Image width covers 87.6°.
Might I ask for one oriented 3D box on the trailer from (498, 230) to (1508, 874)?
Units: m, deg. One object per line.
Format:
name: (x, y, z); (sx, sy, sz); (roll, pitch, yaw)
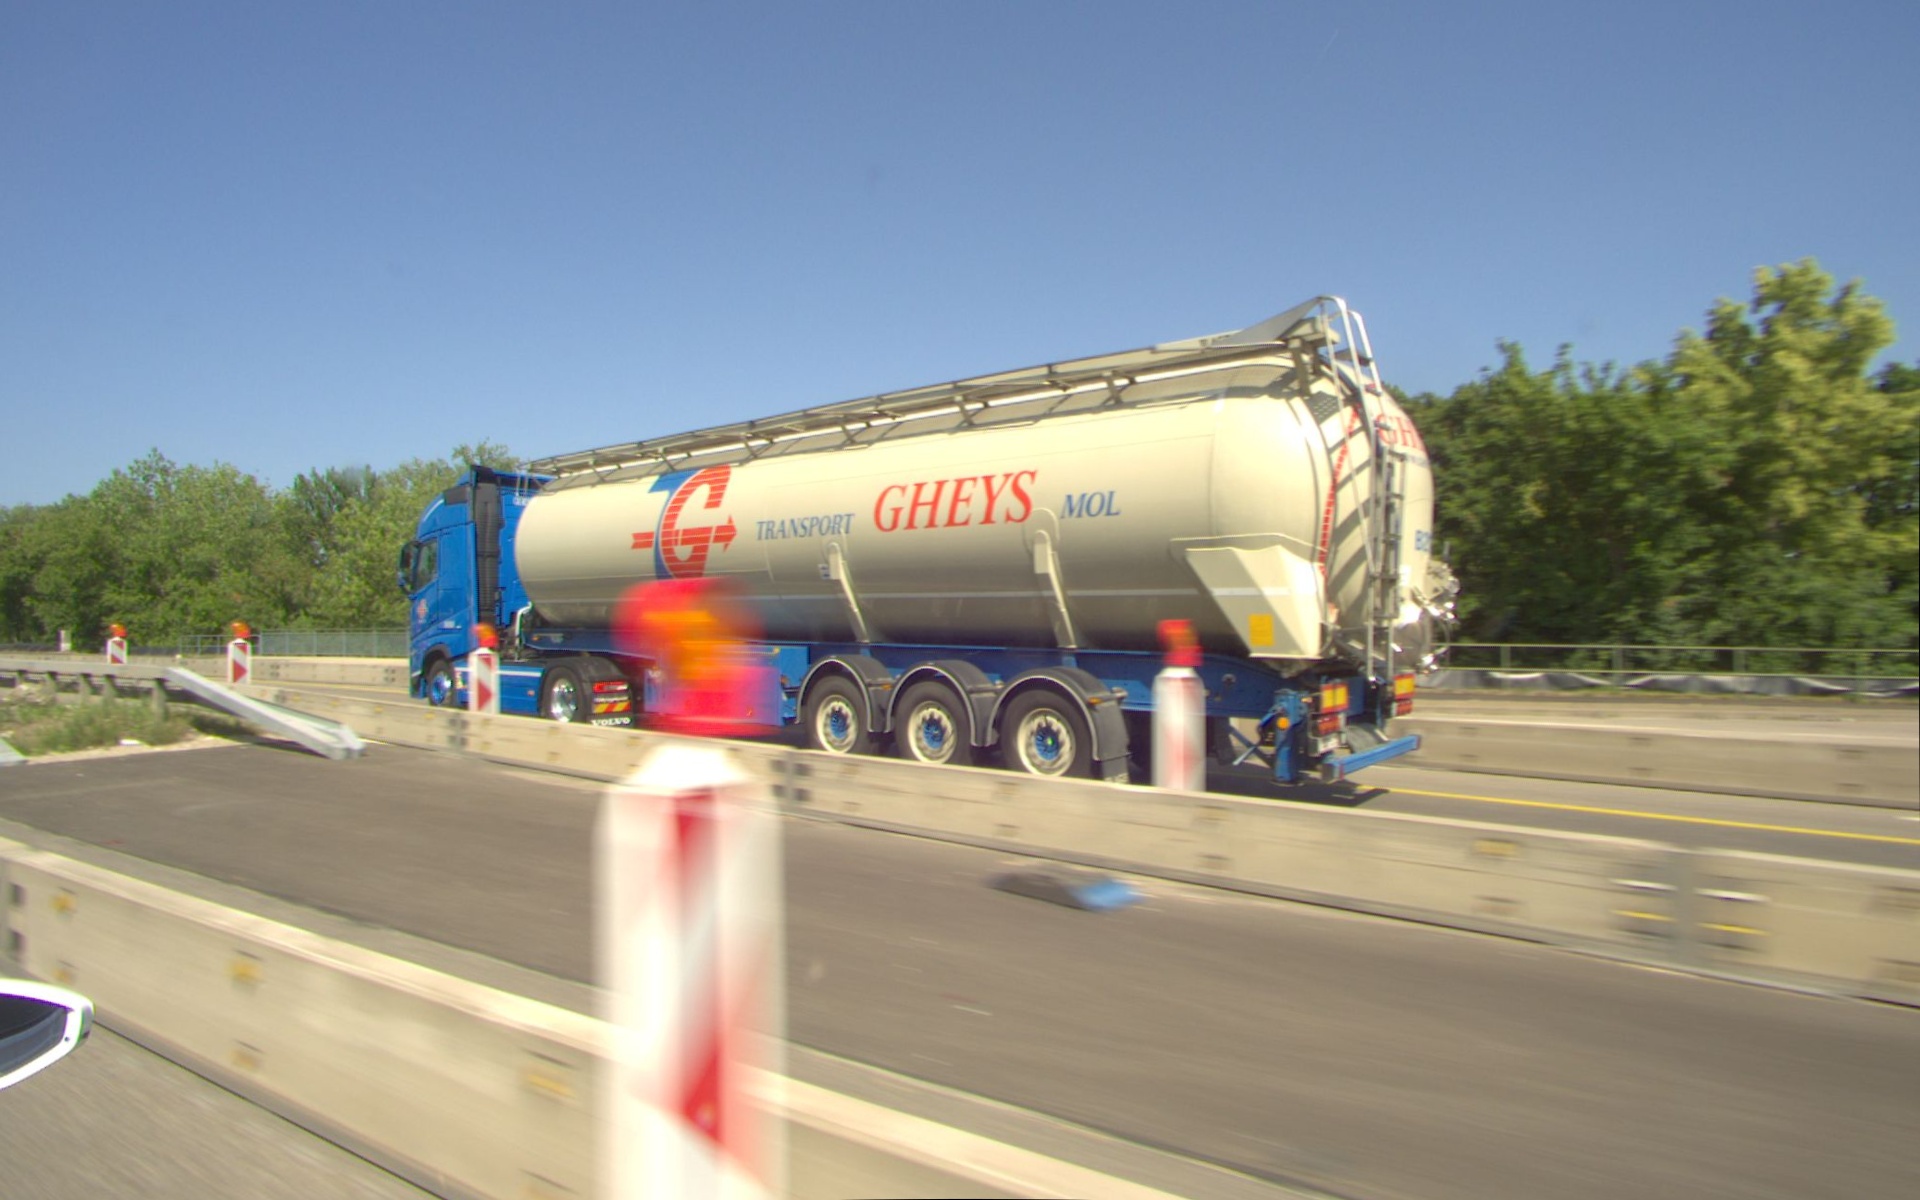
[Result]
trailer: (-0.957, -0.184, 11.504); (12.462, 4.191, 2.683); (-1, -1, 39)

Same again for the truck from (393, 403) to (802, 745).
truck: (-5.875, -0.240, 15.506); (7.214, 4.156, 2.682); (-1, -1, 40)
